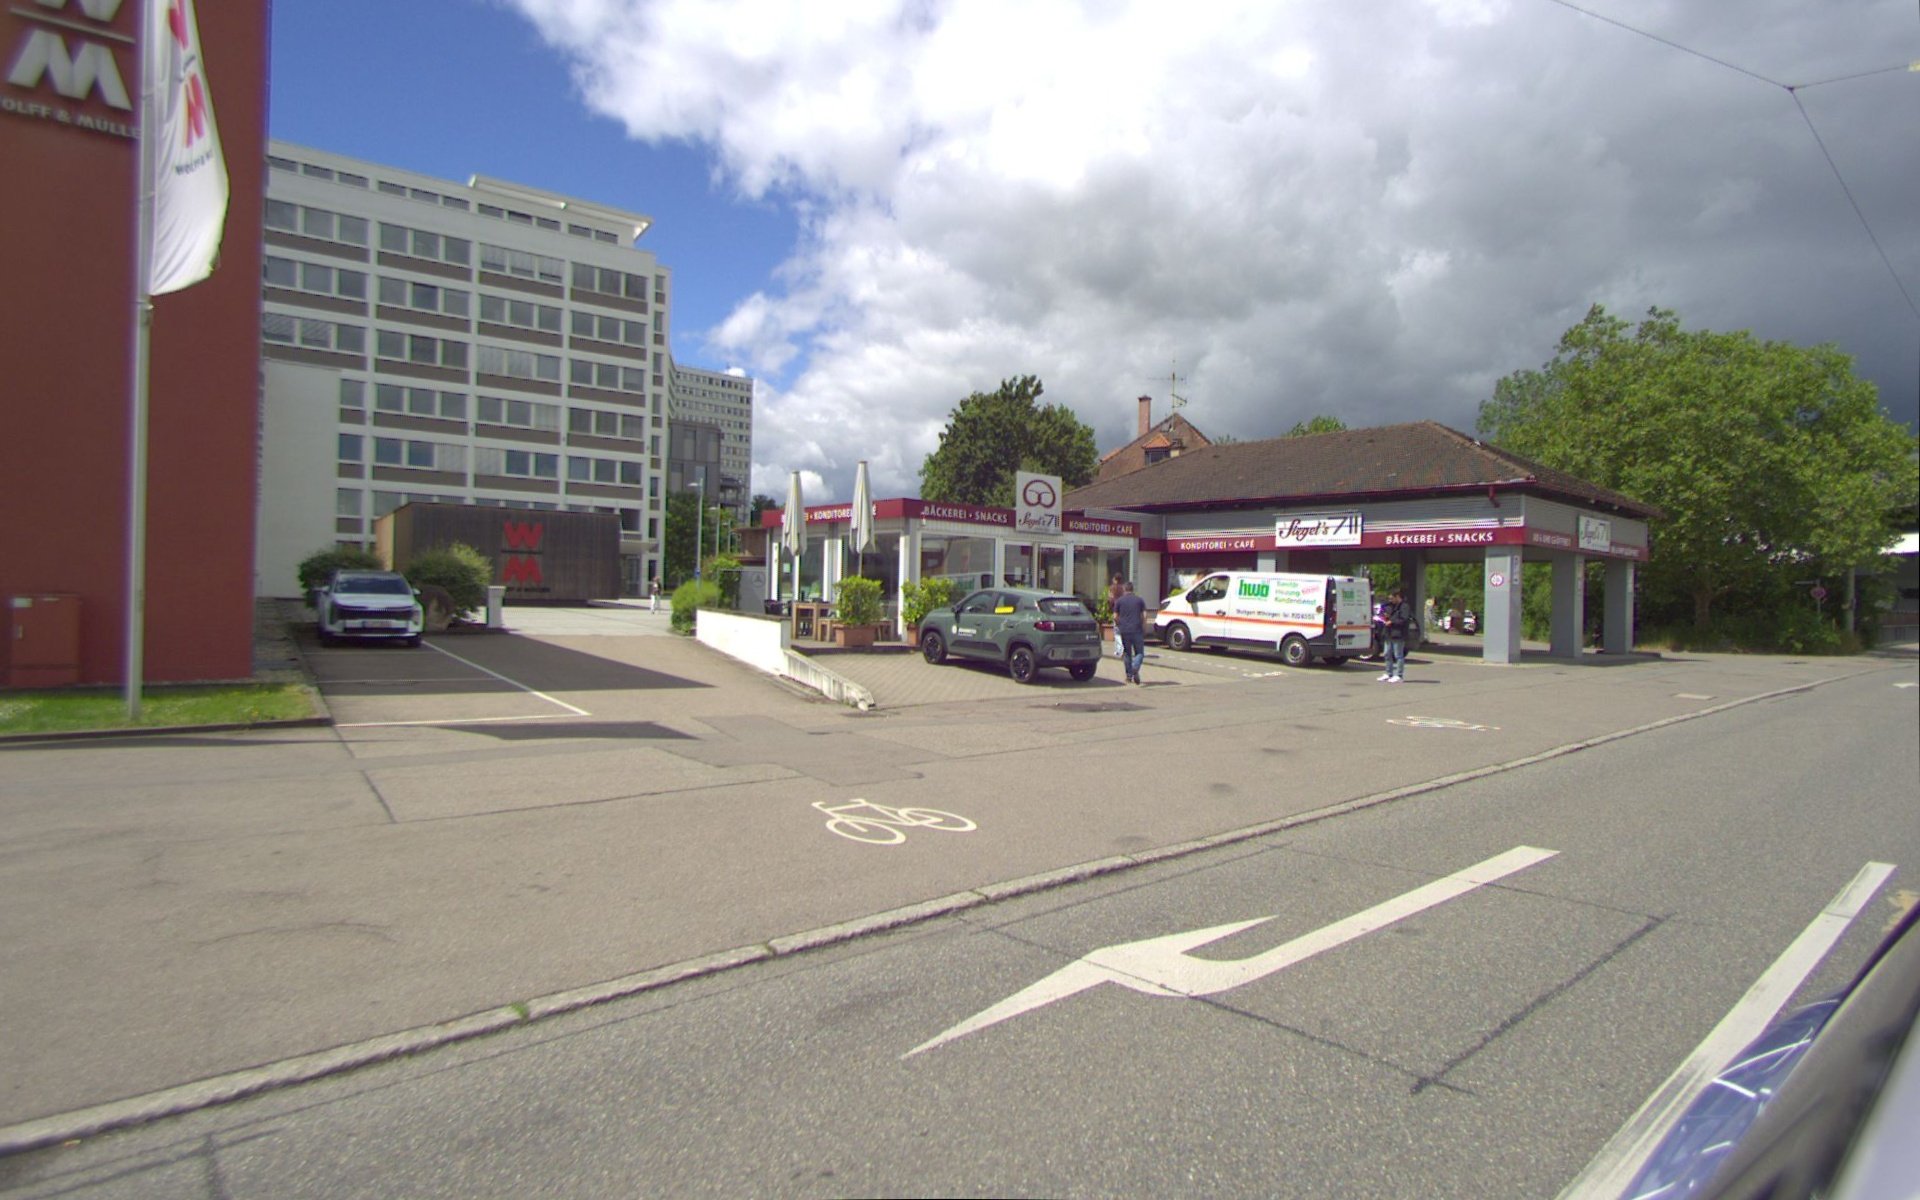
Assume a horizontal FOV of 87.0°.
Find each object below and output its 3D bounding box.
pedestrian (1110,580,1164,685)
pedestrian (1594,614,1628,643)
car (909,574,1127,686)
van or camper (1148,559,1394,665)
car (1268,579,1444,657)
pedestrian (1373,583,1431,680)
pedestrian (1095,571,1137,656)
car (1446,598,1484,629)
[{"bbox_3d":[2.988,0.540,17.112,0.617,1.728,0.716,2,0,-13],"label":"pedestrian"},{"bbox_3d":[29.252,1.294,45.485,0.945,1.264,0.888,1,0,-12],"label":"pedestrian"},{"bbox_3d":[0.908,0.425,17.624,1.730,1.503,3.679,0,5,-38],"label":"car"},{"bbox_3d":[6.908,0.164,22.976,2.173,1.981,4.910,0,4,-40],"label":"van or camper"},{"bbox_3d":[9.509,0.370,24.474,1.804,1.503,3.458,0,5,-42],"label":"car"},{"bbox_3d":[8.102,0.563,18.558,0.726,1.729,0.713,1,0,-40],"label":"pedestrian"},{"bbox_3d":[3.211,0.271,20.863,0.558,1.729,0.752,1,0,-13],"label":"pedestrian"},{"bbox_3d":[32.693,0.828,65.628,1.981,1.740,4.077,5,3,25],"label":"car"}]
